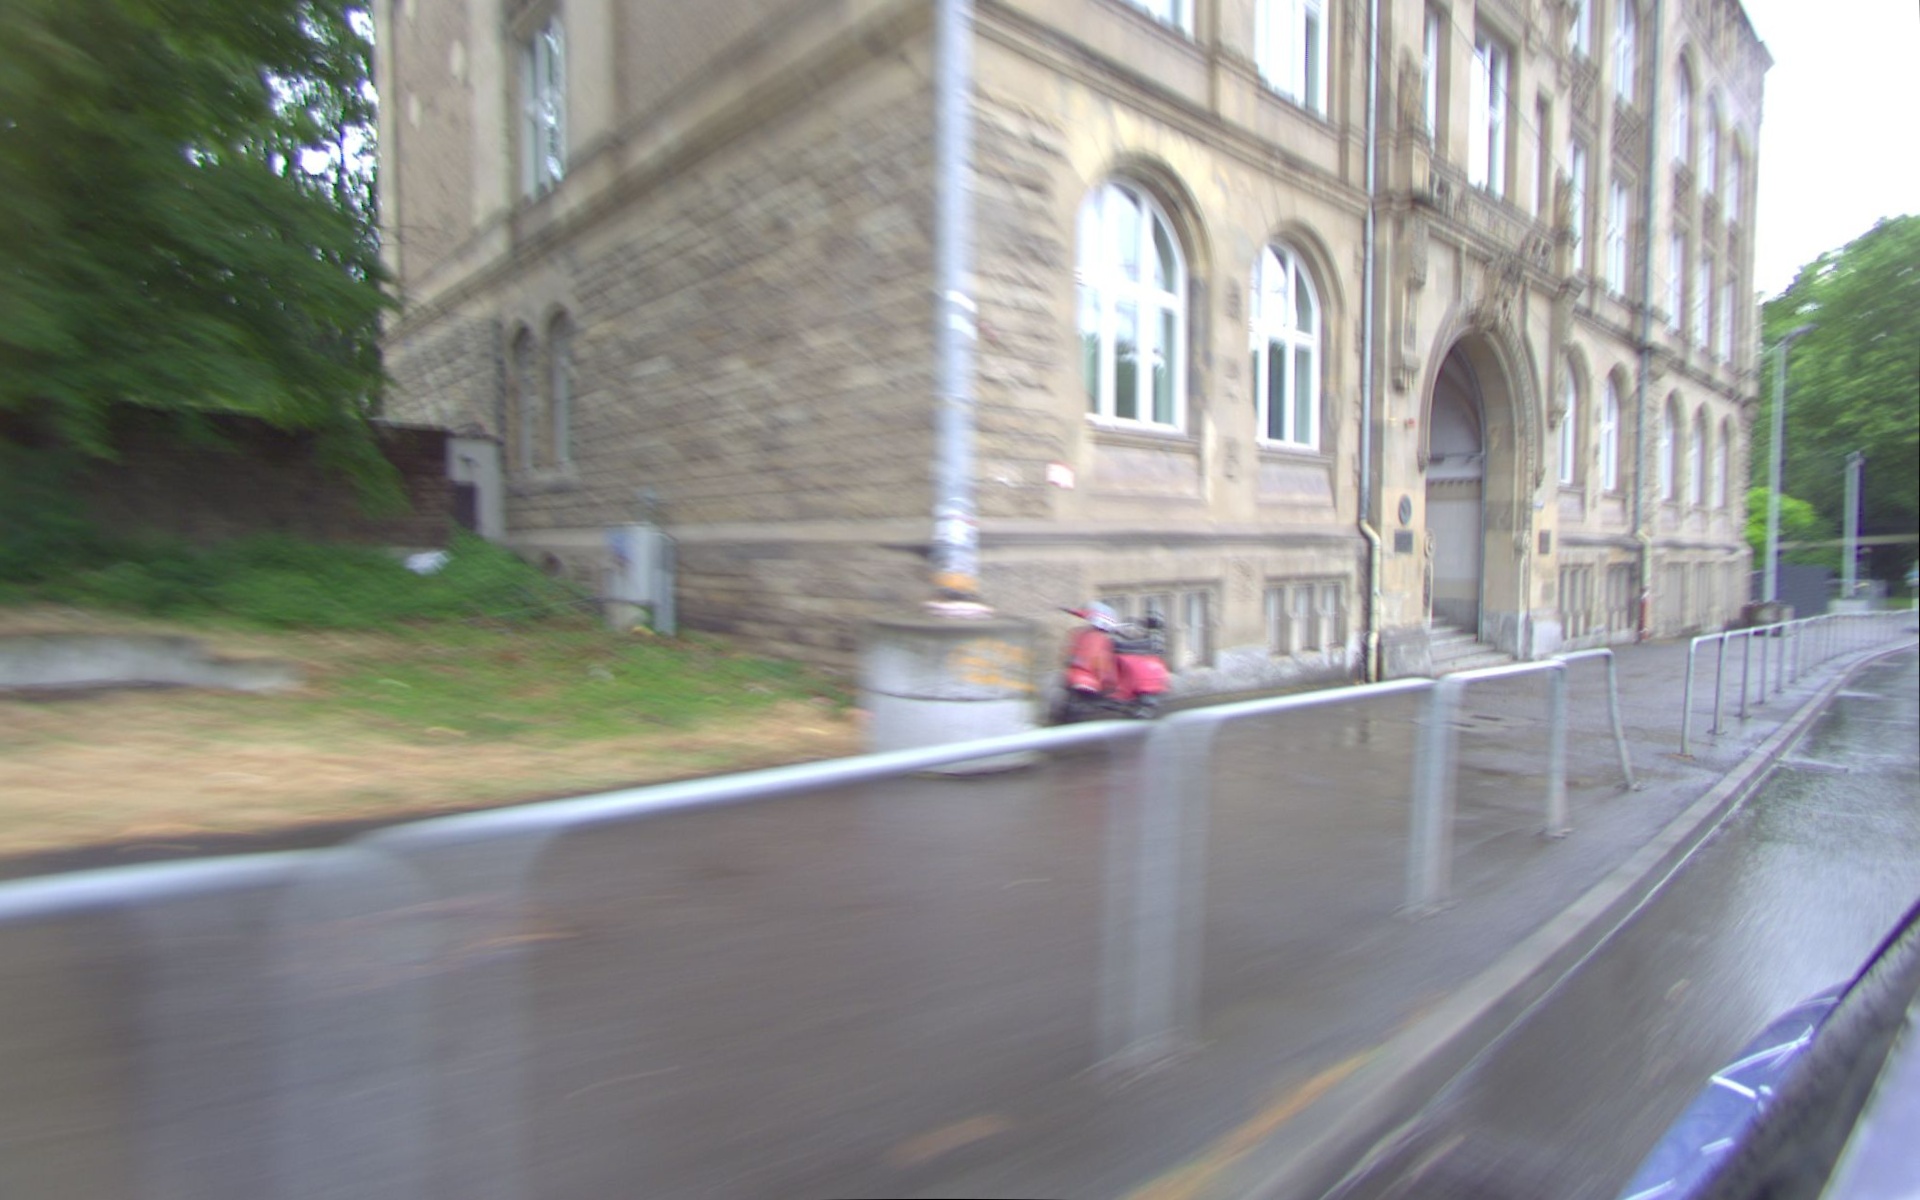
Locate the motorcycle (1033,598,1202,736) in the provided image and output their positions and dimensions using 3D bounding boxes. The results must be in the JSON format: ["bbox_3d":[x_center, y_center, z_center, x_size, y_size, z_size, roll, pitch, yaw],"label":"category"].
[{"bbox_3d":[1.510,0.568,9.459,1.868,1.152,0.547,0,2,-45],"label":"motorcycle"}]
